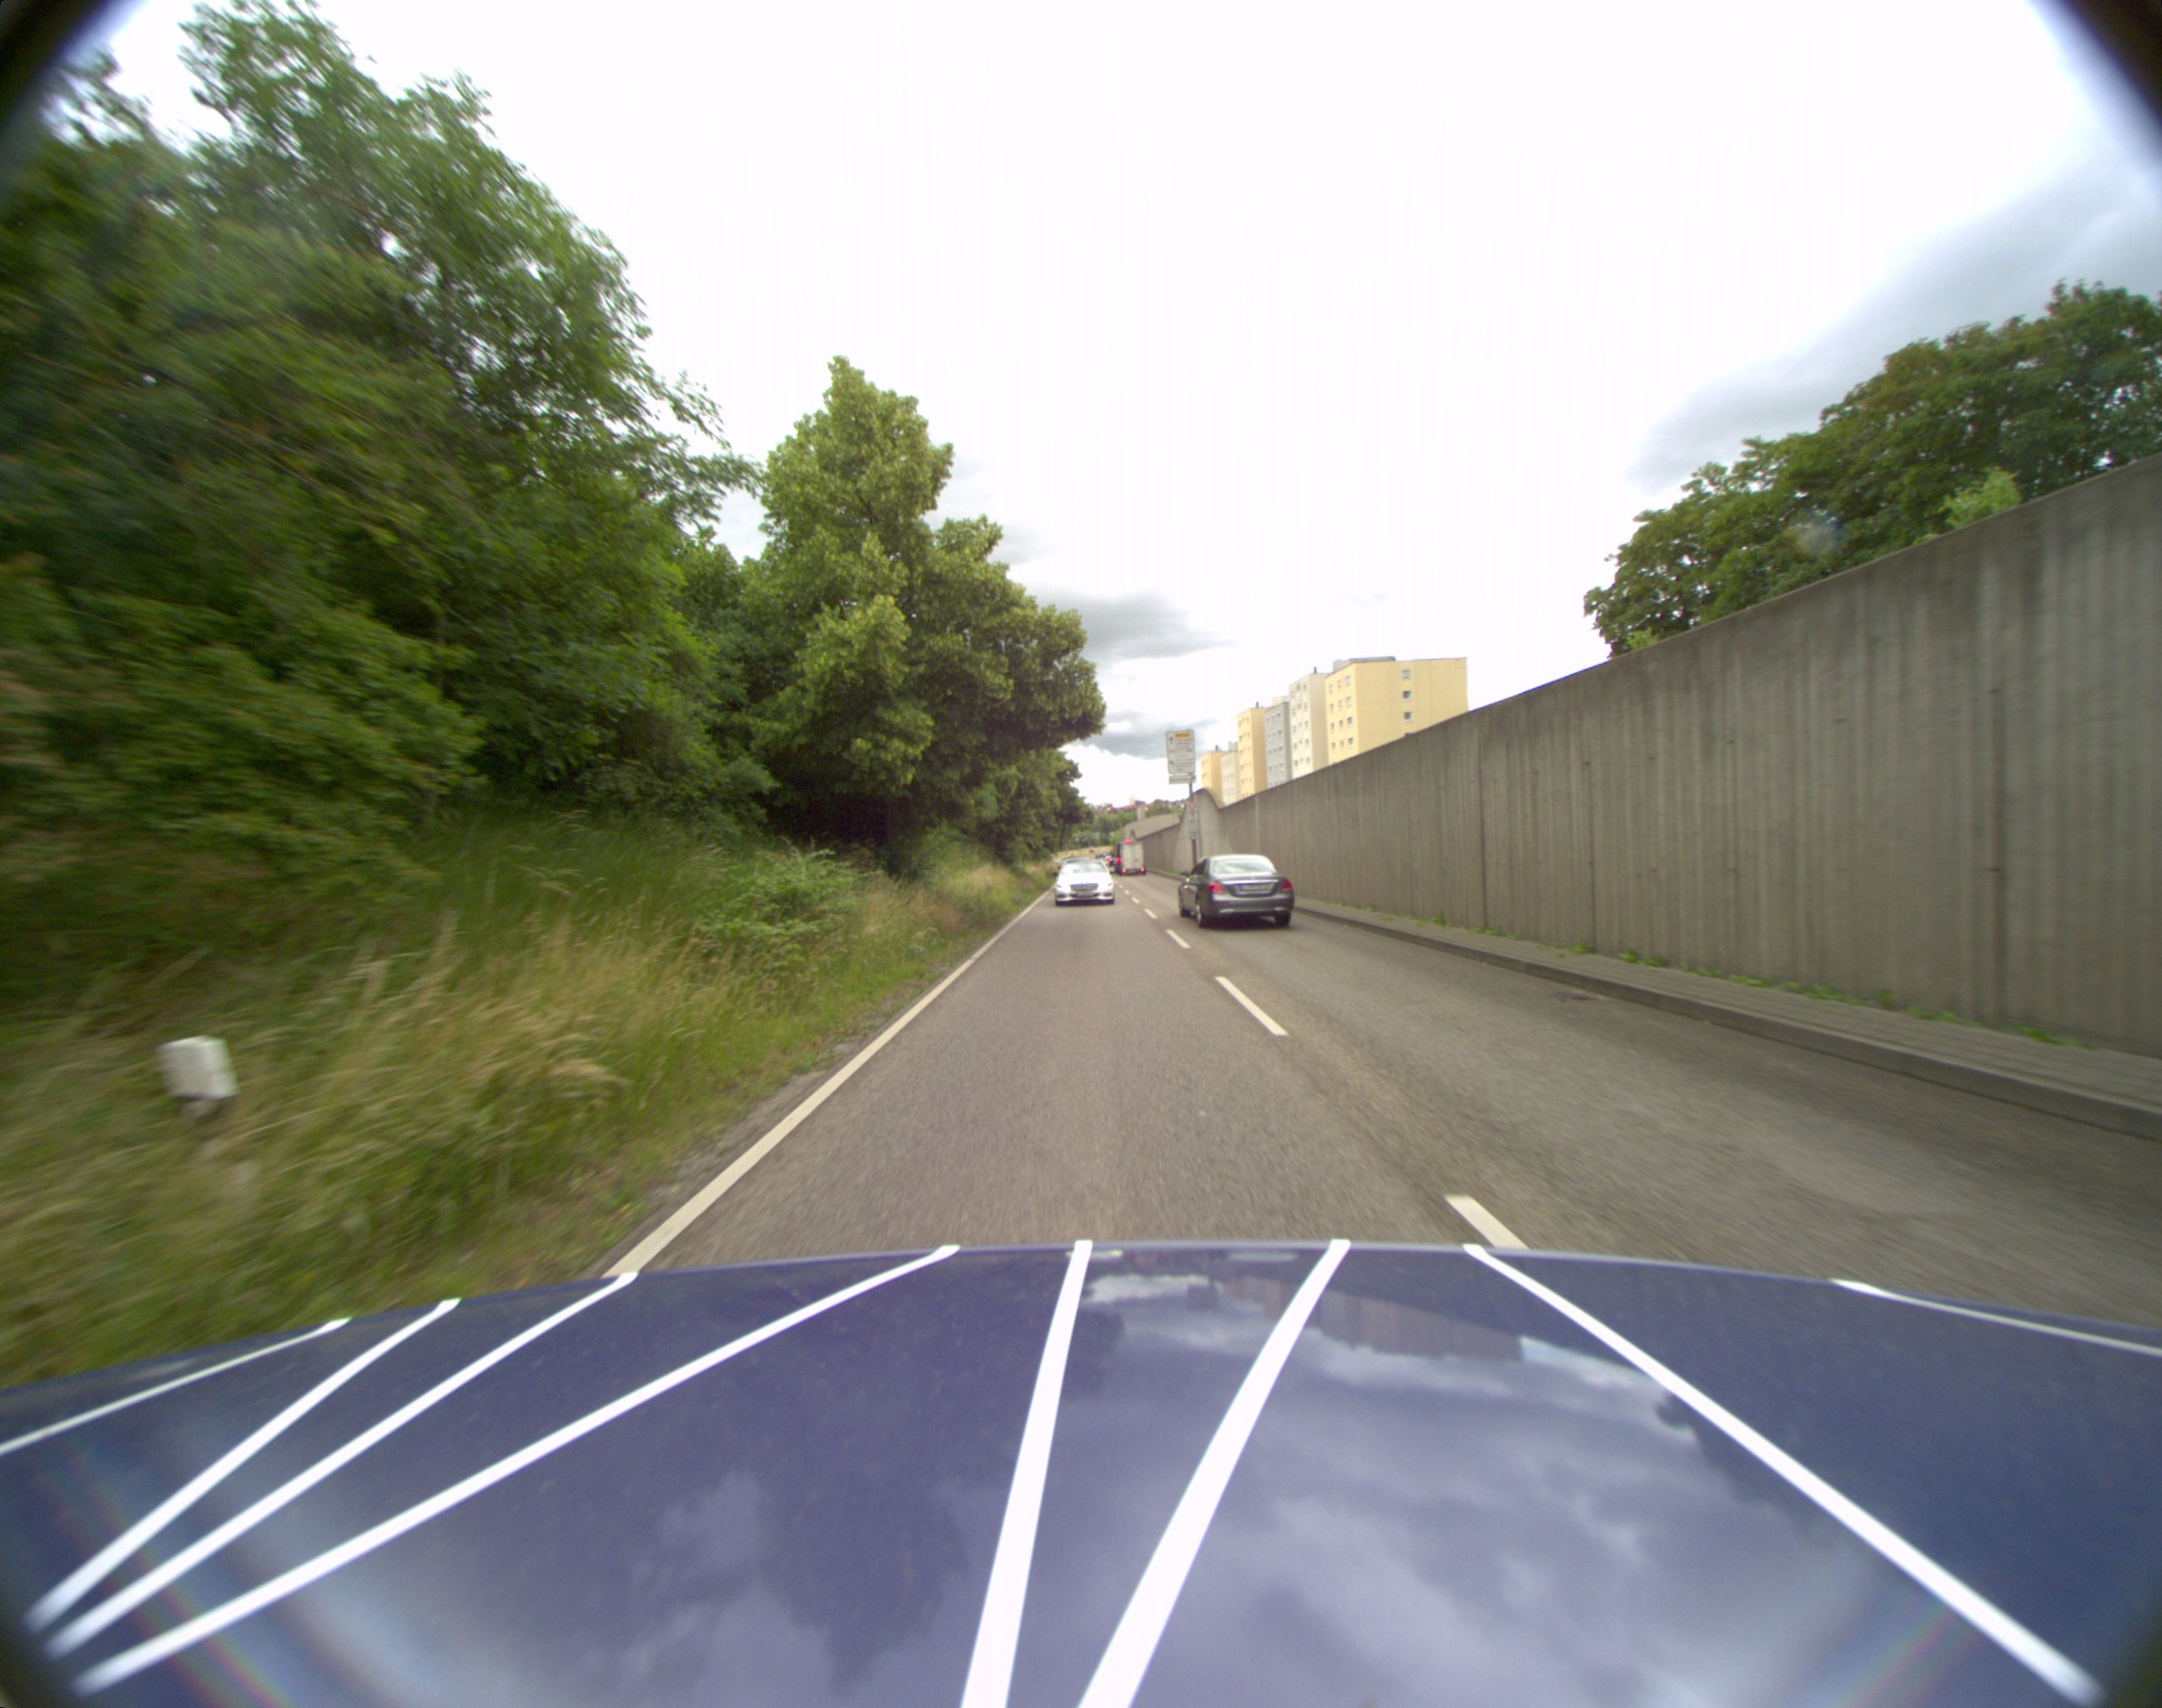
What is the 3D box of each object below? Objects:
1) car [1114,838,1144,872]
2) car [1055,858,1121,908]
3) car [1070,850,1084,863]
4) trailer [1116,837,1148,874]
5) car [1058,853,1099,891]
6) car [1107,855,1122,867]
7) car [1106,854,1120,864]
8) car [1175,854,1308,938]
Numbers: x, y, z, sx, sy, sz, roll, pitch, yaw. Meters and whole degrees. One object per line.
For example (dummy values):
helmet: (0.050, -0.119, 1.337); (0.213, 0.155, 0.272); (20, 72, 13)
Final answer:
car: (3.928, 0.054, 63.353); (2.115, 2.615, 7.417); (-2, 0, 1)
car: (0.148, 0.903, 25.308); (1.905, 1.471, 4.093); (-2, 0, -3)
car: (-0.567, 0.326, 113.737); (1.895, 1.623, 4.424); (-3, 2, 0)
trailer: (3.822, 0.093, 57.454); (2.115, 2.615, 4.371); (-2, 0, 1)
car: (-0.178, 0.817, 36.608); (1.759, 1.532, 3.998); (-5, 1, -2)
car: (4.468, 0.953, 100.651); (1.772, 1.487, 4.208); (-3, 0, 0)
car: (4.767, 0.714, 112.785); (1.920, 1.487, 4.208); (-3, 0, 2)
car: (3.275, 0.777, 16.506); (1.897, 1.475, 4.823); (-2, 0, 1)
